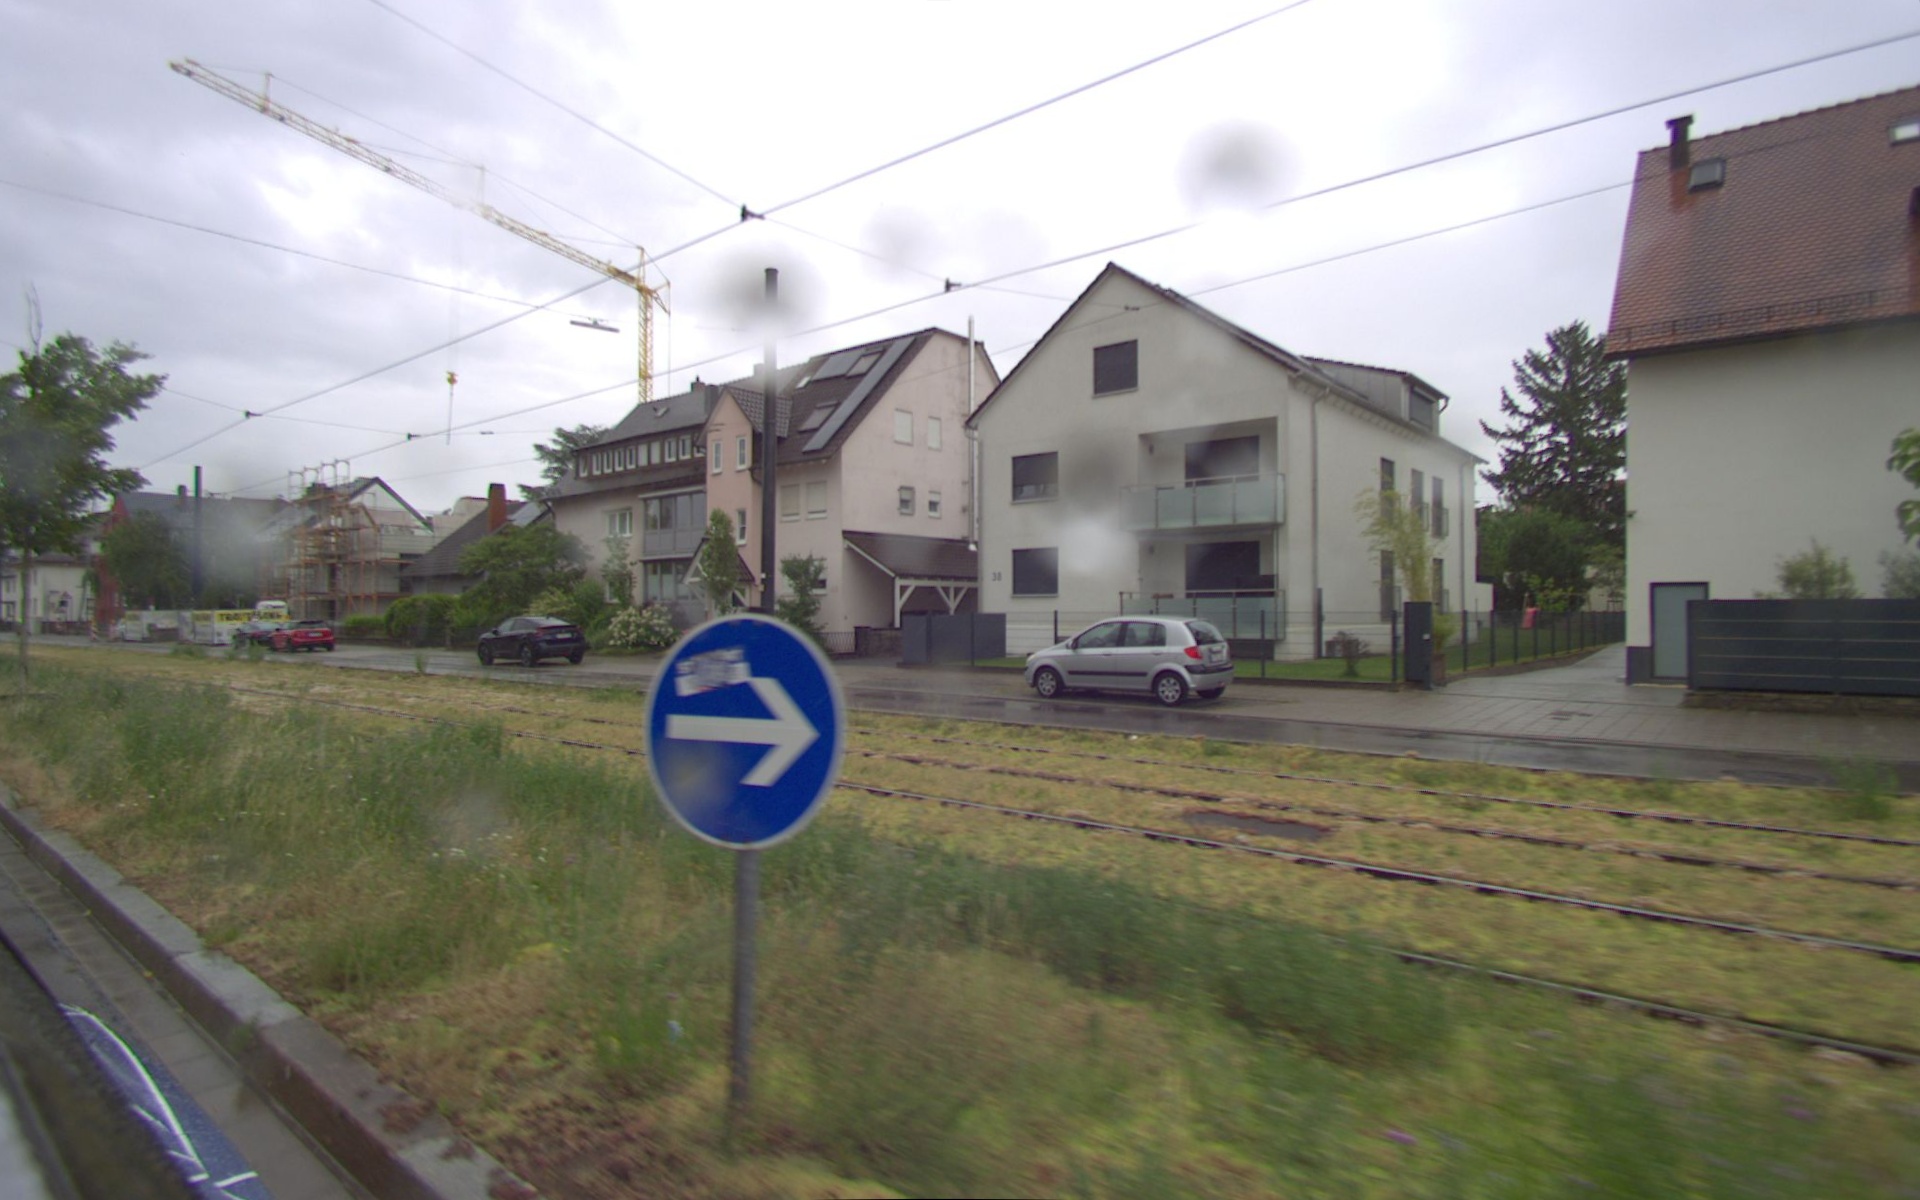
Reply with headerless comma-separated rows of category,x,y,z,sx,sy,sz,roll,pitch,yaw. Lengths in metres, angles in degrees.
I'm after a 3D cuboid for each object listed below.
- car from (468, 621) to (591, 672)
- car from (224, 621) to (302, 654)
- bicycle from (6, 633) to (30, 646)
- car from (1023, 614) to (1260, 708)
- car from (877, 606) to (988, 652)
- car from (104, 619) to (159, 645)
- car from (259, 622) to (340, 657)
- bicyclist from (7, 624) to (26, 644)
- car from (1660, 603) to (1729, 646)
car,-13.590,1.442,31.832,4.169,1.437,1.819,-2,-1,39
car,-33.474,1.798,48.552,4.169,1.420,1.974,-3,-1,39
bicycle,-77.990,3.255,83.780,3.429,1.051,0.925,-1,-2,38
car,3.179,1.000,17.975,3.654,1.424,1.974,0,0,39
car,-0.929,0.993,36.218,1.840,1.512,3.947,0,0,40
car,-56.022,2.145,68.450,4.244,1.640,1.975,0,0,37
car,-29.605,1.733,45.340,3.839,1.383,1.974,0,0,39
bicyclist,-78.306,2.813,84.011,1.399,1.596,0.944,0,0,39
car,29.904,0.947,41.167,1.998,1.630,3.947,0,0,40
